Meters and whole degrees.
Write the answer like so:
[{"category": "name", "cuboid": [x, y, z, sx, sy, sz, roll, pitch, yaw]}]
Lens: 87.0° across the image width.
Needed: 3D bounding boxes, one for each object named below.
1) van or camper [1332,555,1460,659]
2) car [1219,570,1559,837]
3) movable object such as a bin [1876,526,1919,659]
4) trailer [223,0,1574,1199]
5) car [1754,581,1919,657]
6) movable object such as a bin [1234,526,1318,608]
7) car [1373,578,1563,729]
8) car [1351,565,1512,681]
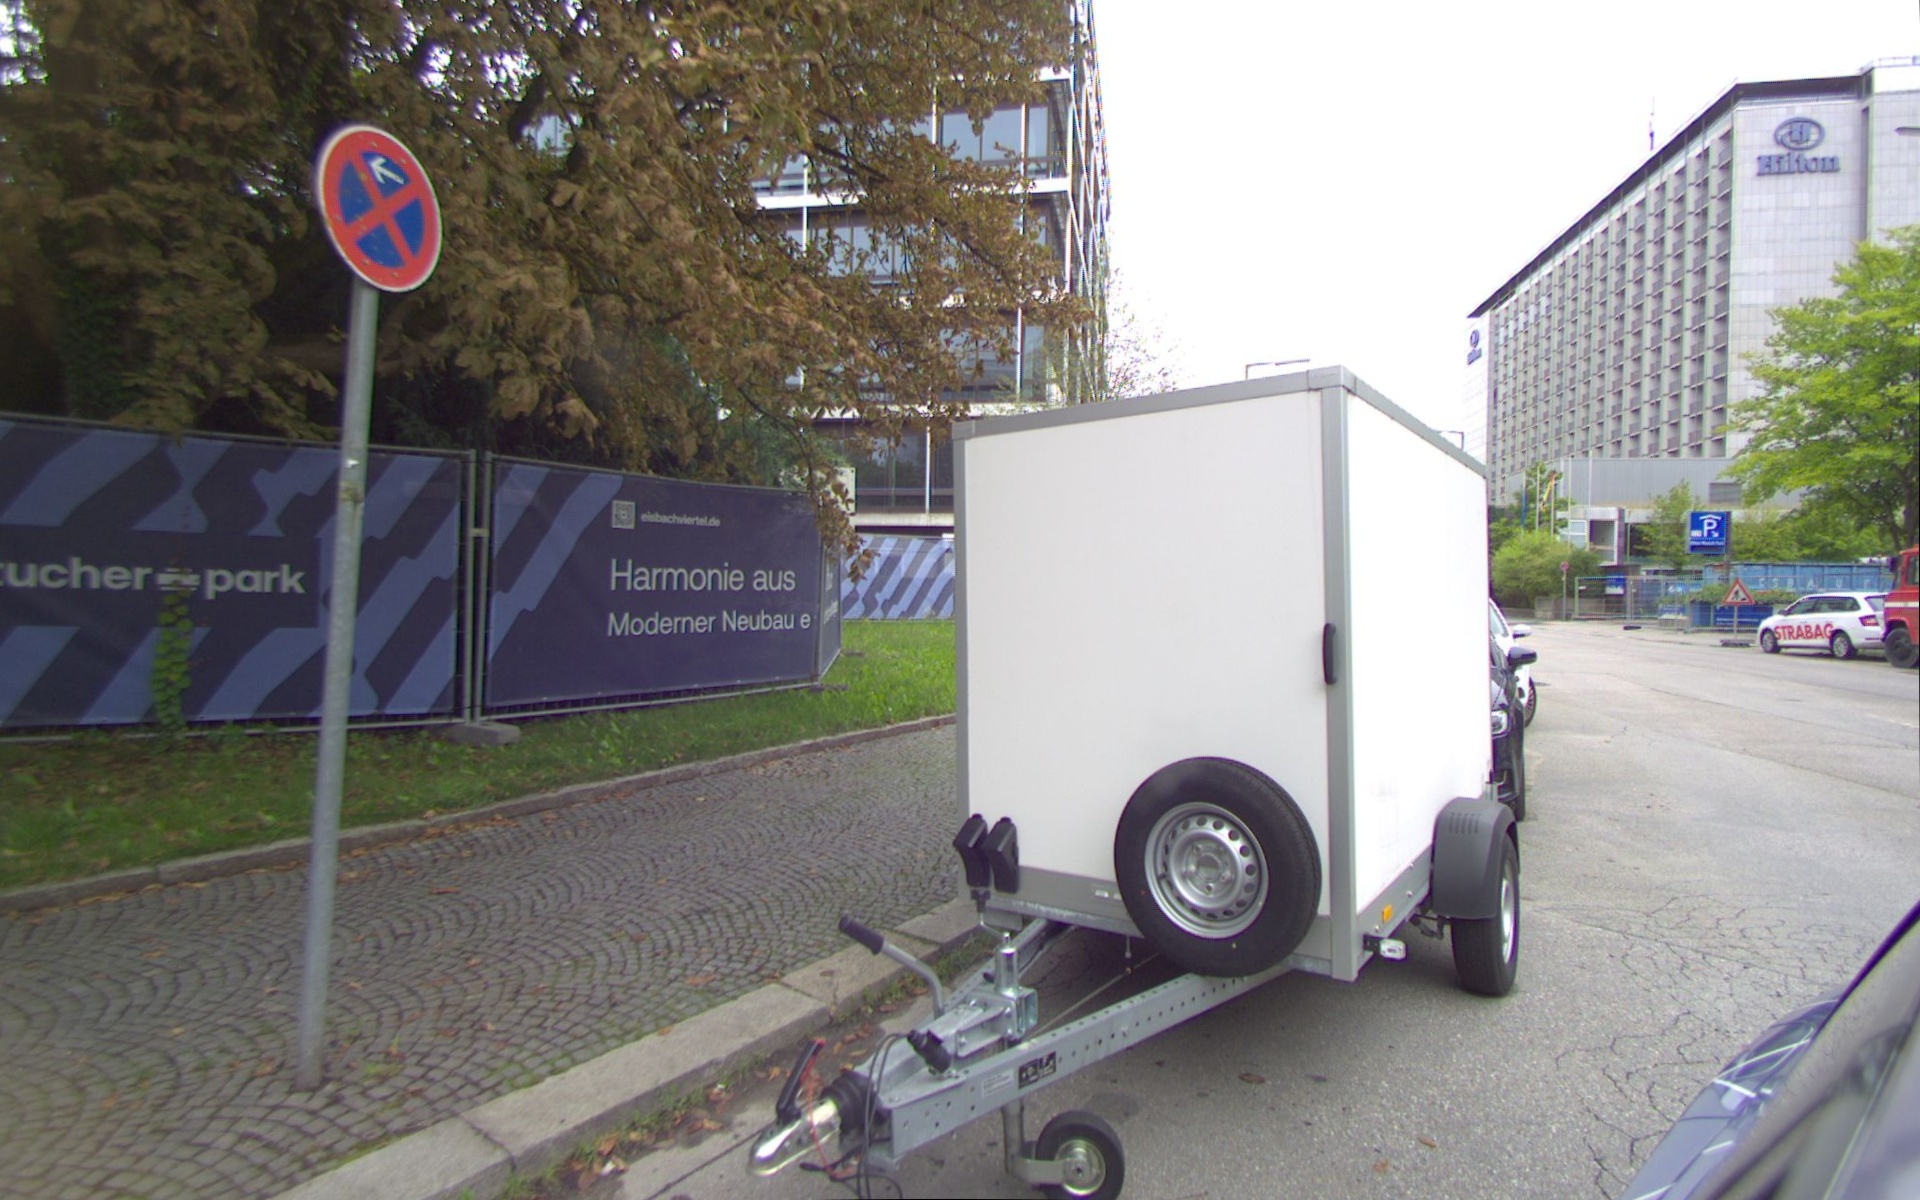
[{"category": "van or camper", "cuboid": [9.671, 0.069, 22.866, 1.972, 2.038, 5.350, 1, 1, 16]}, {"category": "car", "cuboid": [3.508, 0.554, 8.025, 1.861, 1.455, 4.286, 2, 1, 28]}, {"category": "movable object such as a bin", "cuboid": [18.540, -0.100, 16.977, 2.081, 2.489, 6.157, 1, 1, 15]}, {"category": "trailer", "cuboid": [0.652, 0.298, 3.386, 1.806, 2.038, 4.767, 1, 2, 38]}, {"category": "car", "cuboid": [20.490, 0.372, 23.162, 1.752, 1.569, 4.246, 1, 1, 9]}, {"category": "movable object such as a bin", "cuboid": [15.829, -1.631, 51.326, 3.201, 3.763, 8.977, 1, 1, 12]}, {"category": "car", "cuboid": [6.121, 0.506, 12.535, 1.753, 1.504, 4.187, 1, 1, 23]}, {"category": "car", "cuboid": [8.063, 0.288, 17.713, 1.973, 1.749, 4.425, 1, 1, 18]}]
